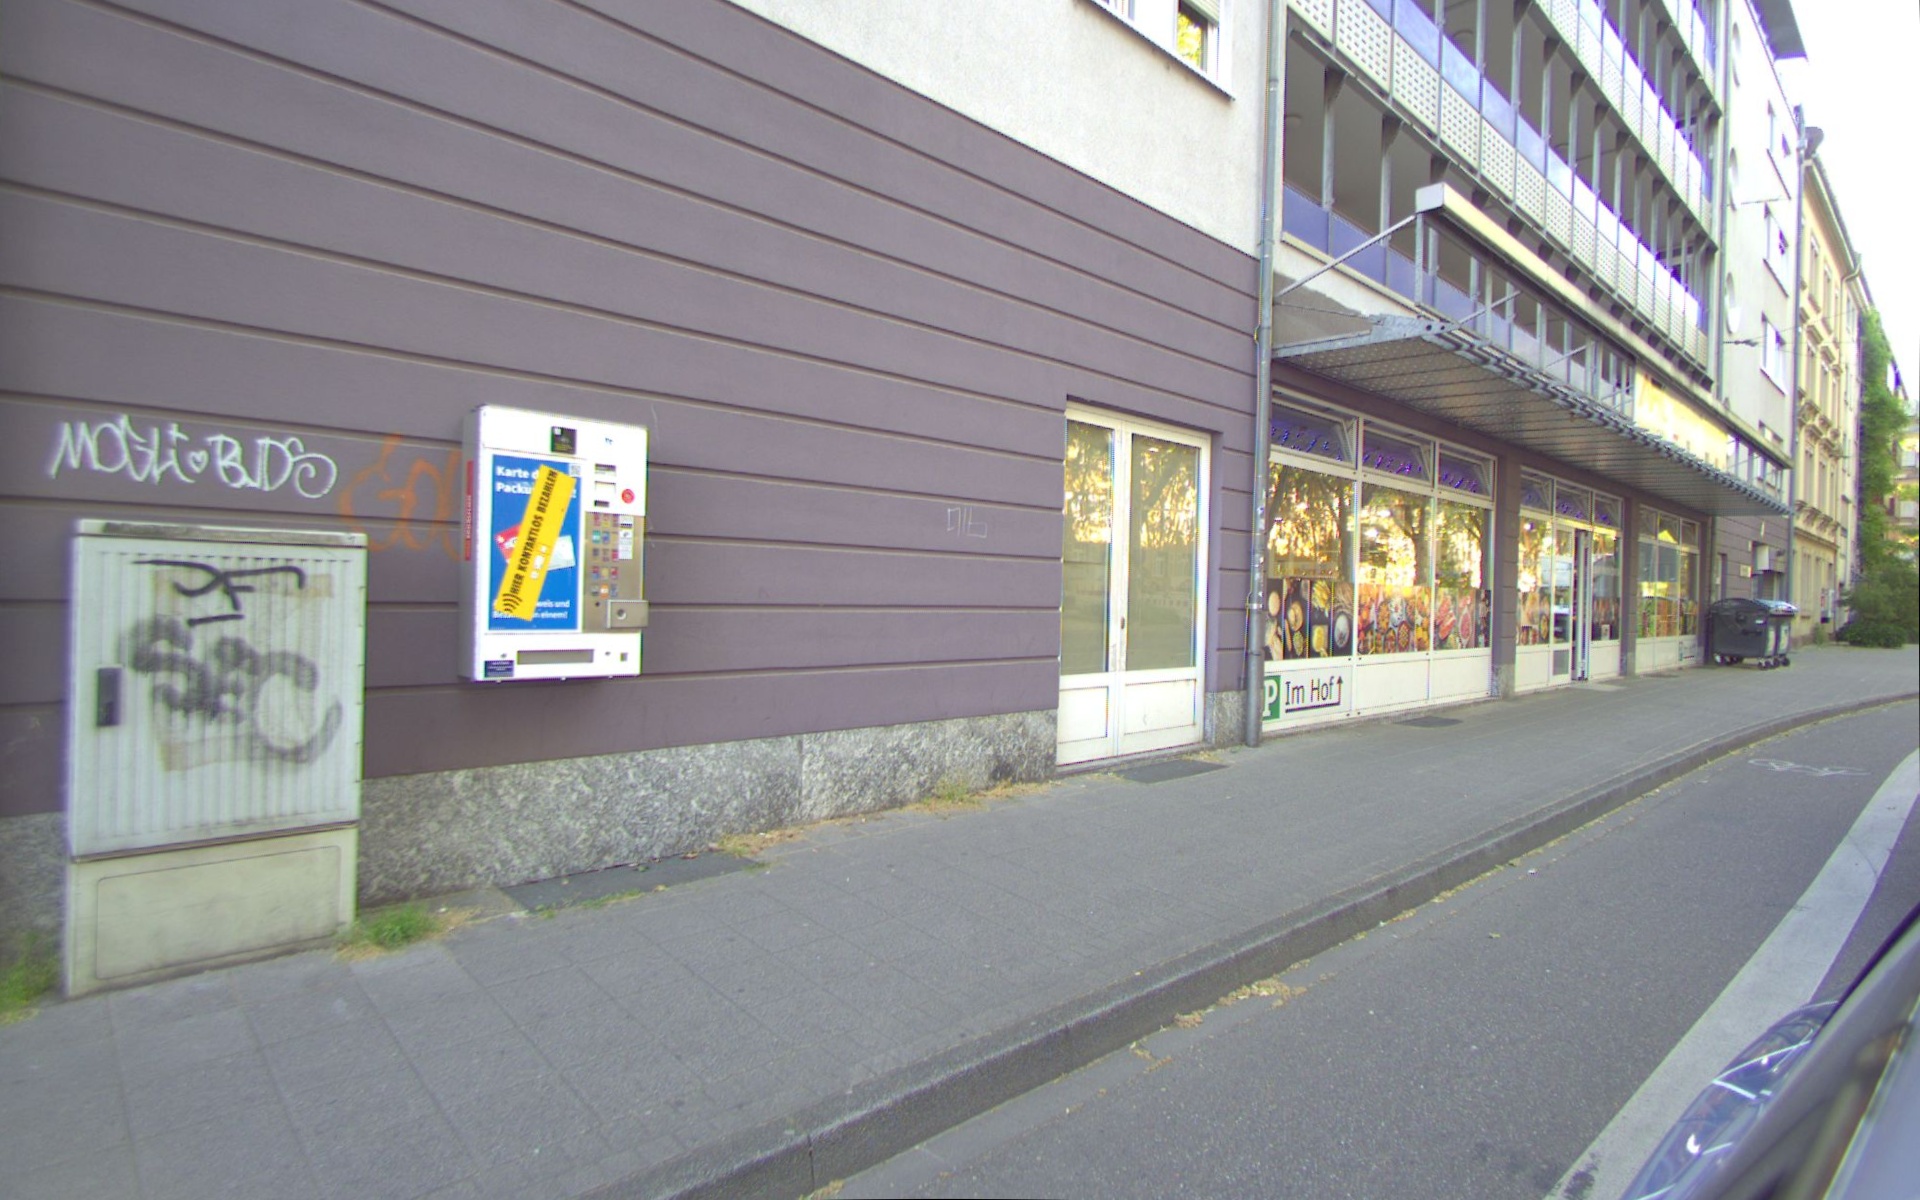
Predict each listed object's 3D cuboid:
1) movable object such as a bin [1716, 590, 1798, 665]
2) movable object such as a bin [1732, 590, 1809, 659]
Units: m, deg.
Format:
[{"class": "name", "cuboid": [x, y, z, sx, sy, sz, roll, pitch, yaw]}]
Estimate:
[{"class": "movable object such as a bin", "cuboid": [16.341, 0.541, 20.753, 0.923, 1.444, 1.158, 1, 1, -40]}, {"class": "movable object such as a bin", "cuboid": [17.757, 0.513, 22.180, 0.923, 1.444, 1.158, 1, 1, -40]}]
